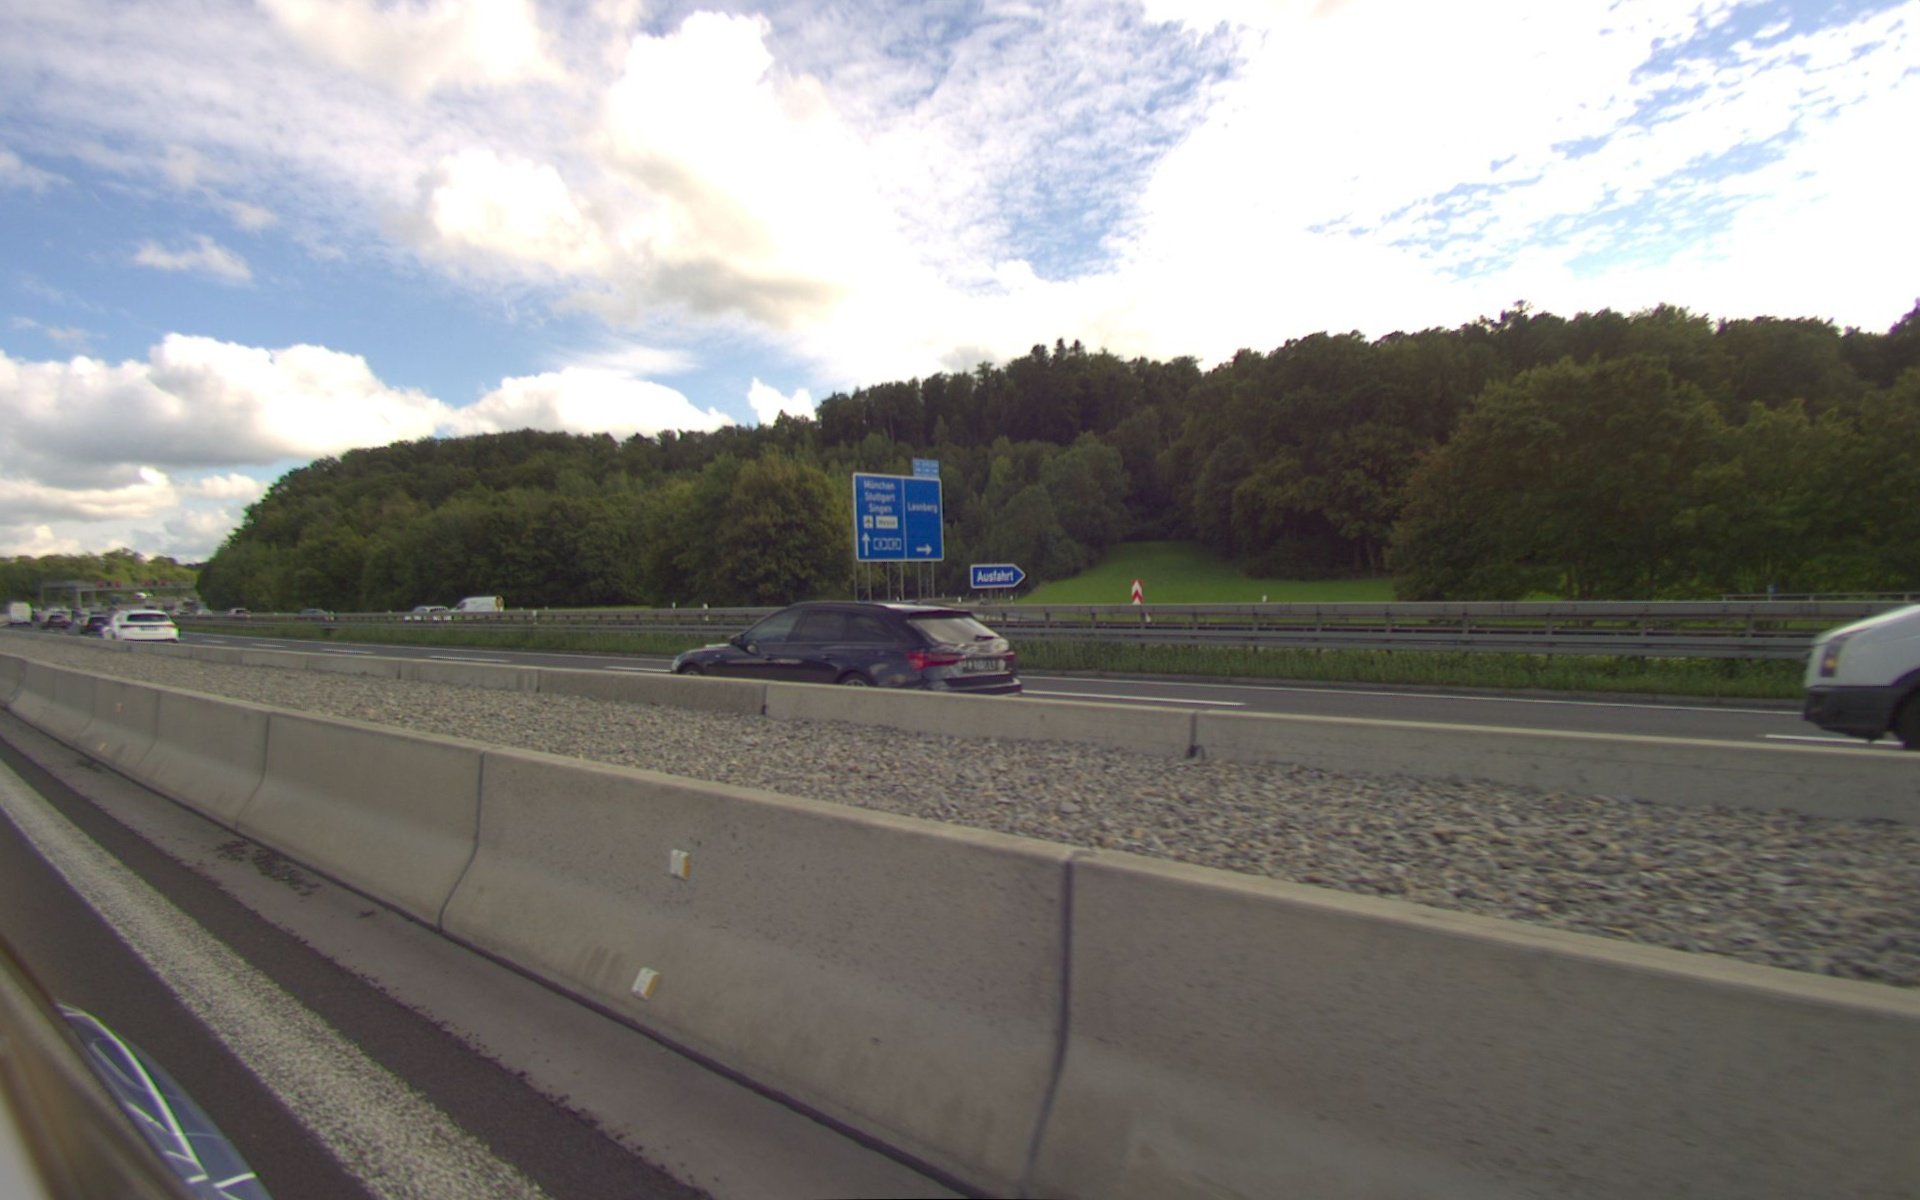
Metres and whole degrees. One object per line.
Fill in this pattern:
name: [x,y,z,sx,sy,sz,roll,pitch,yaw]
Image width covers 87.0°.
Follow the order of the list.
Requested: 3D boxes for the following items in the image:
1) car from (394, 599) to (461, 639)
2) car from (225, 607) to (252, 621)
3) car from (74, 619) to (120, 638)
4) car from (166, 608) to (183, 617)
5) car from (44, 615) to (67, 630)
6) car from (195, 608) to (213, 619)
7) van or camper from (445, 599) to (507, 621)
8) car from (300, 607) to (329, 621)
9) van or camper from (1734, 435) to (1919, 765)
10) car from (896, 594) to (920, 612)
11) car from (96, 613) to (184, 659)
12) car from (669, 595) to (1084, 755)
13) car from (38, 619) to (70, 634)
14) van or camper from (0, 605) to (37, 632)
car: [-31.828,1.134,60.448,5.146,2.250,1.972,-1,-1,43]
car: [-96.841,1.891,135.744,2.365,1.784,5.249,-1,0,-42]
car: [-67.755,2.259,79.467,4.989,1.428,1.768,-1,-1,38]
car: [-143.283,2.295,184.633,4.625,1.442,1.763,-1,-1,43]
car: [-111.941,2.773,125.218,1.892,1.920,5.290,1,-2,-45]
car: [-118.785,2.195,159.003,1.912,1.684,5.230,0,0,-42]
van or camper: [-52.288,1.066,109.463,5.648,2.266,2.107,-1,0,-3]
car: [-73.609,1.613,115.359,4.303,1.461,1.707,-1,0,42]
van or camper: [10.043,-0.037,7.411,6.857,2.644,1.966,-1,-1,40]
car: [-4.921,0.287,95.585,1.693,1.597,4.009,-1,0,-11]
car: [-31.149,1.310,38.385,5.135,1.623,1.823,-1,0,42]
car: [-1.122,0.713,11.466,4.775,1.446,1.905,-1,-1,41]
car: [-92.134,2.689,102.855,5.235,1.432,1.863,-1,-2,42]
van or camper: [-110.110,2.139,117.994,7.469,2.938,3.298,-1,0,44]
